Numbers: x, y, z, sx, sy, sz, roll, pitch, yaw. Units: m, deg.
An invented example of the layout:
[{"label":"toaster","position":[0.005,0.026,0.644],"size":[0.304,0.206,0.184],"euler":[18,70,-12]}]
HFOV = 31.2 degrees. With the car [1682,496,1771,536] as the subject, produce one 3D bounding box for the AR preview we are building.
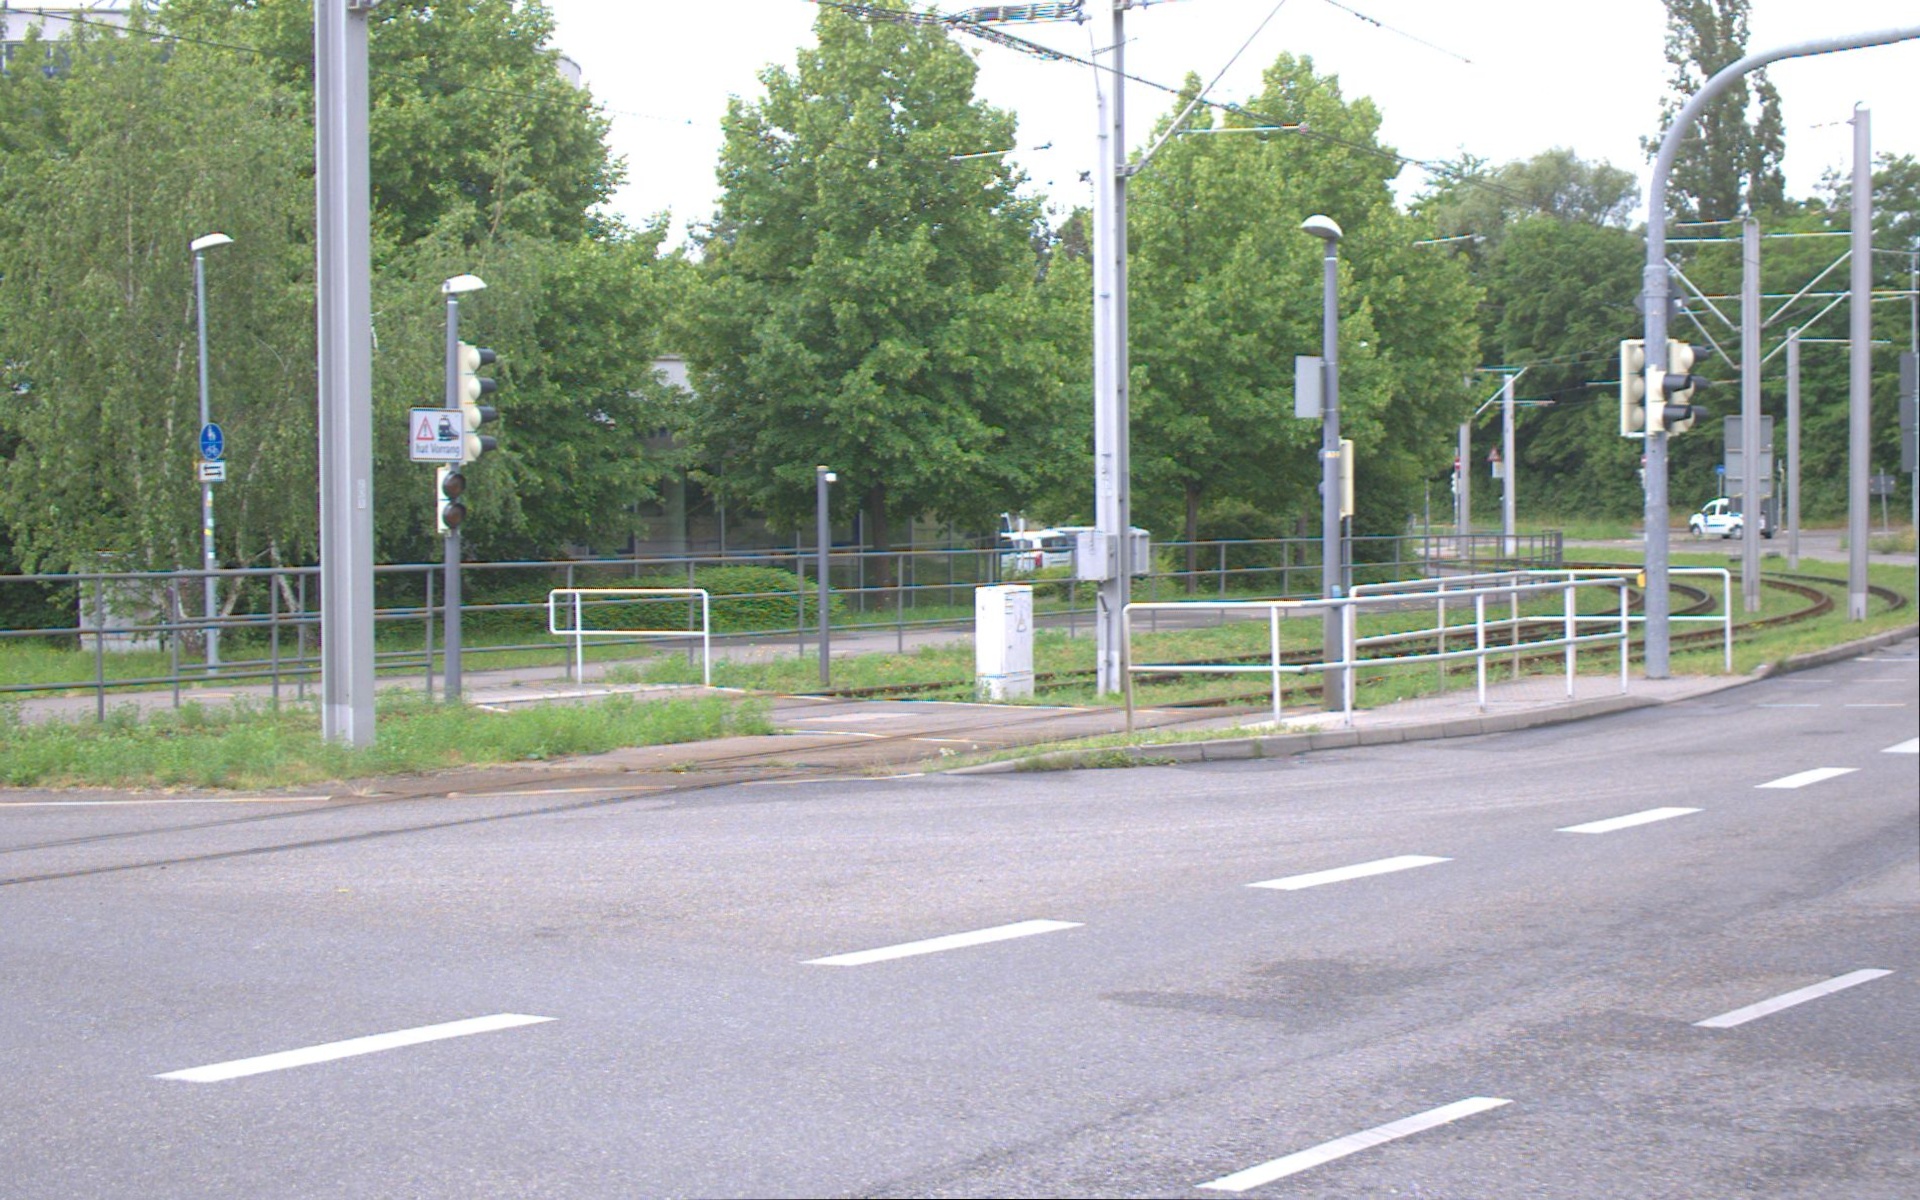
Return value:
[{"label":"car","position":[33.667,-3.680,151.041],"size":[1.993,1.722,3.728],"euler":[-1,2,-24]}]
